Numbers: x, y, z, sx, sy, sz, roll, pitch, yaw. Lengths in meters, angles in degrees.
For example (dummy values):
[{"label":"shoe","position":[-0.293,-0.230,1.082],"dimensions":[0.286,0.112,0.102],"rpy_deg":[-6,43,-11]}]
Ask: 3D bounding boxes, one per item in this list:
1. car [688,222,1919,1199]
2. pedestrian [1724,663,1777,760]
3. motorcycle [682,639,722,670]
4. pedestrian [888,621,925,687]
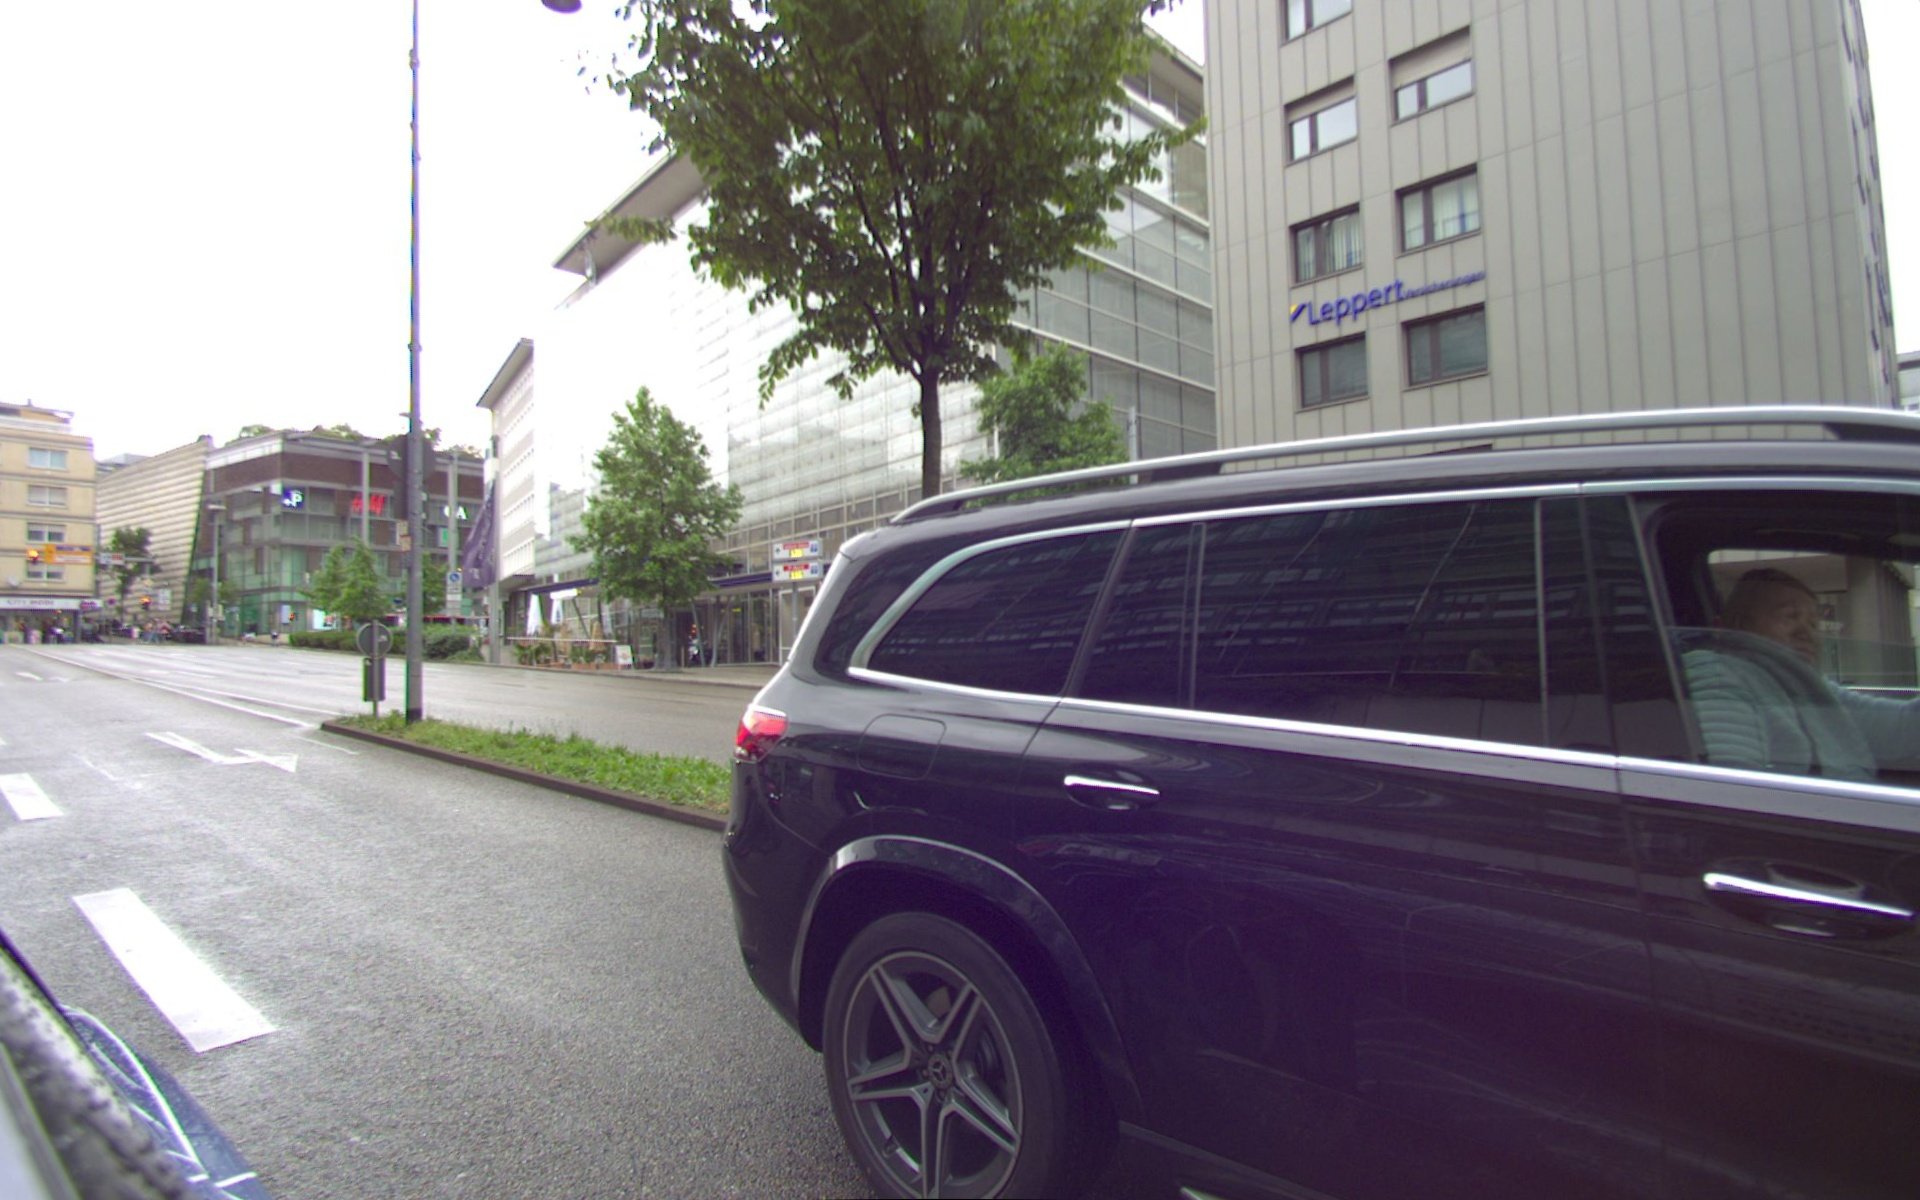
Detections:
[{"label":"car","position":[1.721,0.493,1.935],"dimensions":[5.072,1.884,1.891],"rpy_deg":[0,0,42]},{"label":"pedestrian","position":[14.800,2.059,18.948],"dimensions":[0.709,1.693,0.740],"rpy_deg":[0,0,43]},{"label":"motorcycle","position":[-11.688,2.458,45.809],"dimensions":[0.620,1.336,1.685],"rpy_deg":[-1,-3,41]},{"label":"pedestrian","position":[-1.394,1.389,26.328],"dimensions":[0.626,1.649,0.791],"rpy_deg":[0,0,-41]}]
